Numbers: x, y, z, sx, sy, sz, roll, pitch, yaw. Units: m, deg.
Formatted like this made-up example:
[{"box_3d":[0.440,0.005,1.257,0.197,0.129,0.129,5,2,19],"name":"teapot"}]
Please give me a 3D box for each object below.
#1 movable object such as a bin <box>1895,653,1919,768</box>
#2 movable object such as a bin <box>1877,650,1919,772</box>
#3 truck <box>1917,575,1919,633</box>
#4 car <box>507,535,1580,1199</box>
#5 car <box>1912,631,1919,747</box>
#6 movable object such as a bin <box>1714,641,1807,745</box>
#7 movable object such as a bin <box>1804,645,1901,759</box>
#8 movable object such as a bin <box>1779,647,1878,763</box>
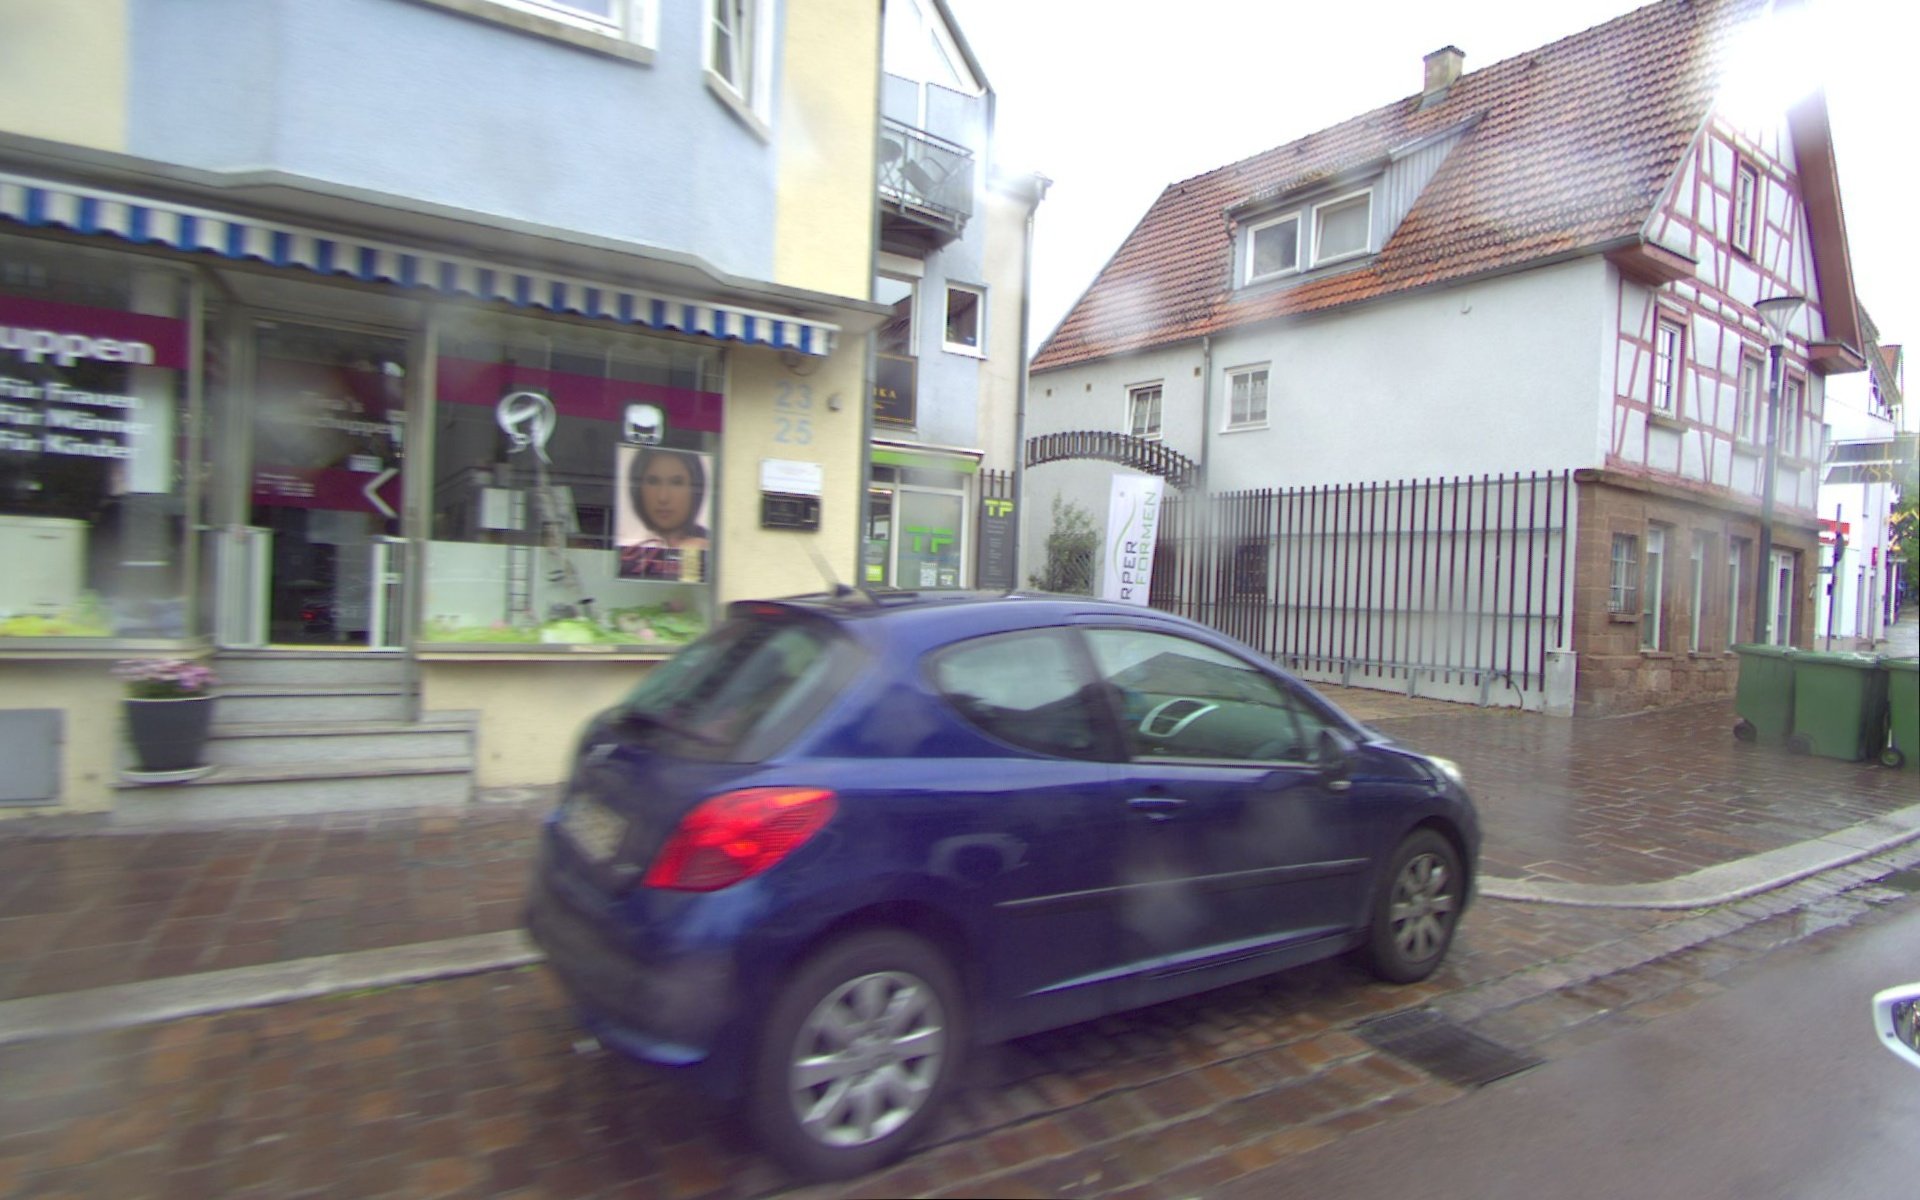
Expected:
[{"box_3d":[9.973,1.122,10.148,0.727,1.137,0.625,3,0,-37],"name":"movable object such as a bin"},{"box_3d":[9.379,1.072,9.697,0.727,1.128,0.625,3,0,-37],"name":"movable object such as a bin"},{"box_3d":[46.292,0.147,46.801,2.255,2.794,5.539,2,0,42],"name":"truck"},{"box_3d":[0.487,0.619,4.074,3.959,1.491,1.981,1,1,-34],"name":"car"},{"box_3d":[12.998,0.982,12.045,3.971,1.514,1.975,1,2,-43],"name":"car"},{"box_3d":[8.862,1.013,11.121,0.727,1.066,0.625,3,0,-37],"name":"movable object such as a bin"},{"box_3d":[9.607,1.079,10.818,0.727,1.137,0.625,3,0,-37],"name":"movable object such as a bin"},{"box_3d":[8.959,1.061,10.365,0.727,1.066,0.625,-2,3,-37],"name":"movable object such as a bin"}]
